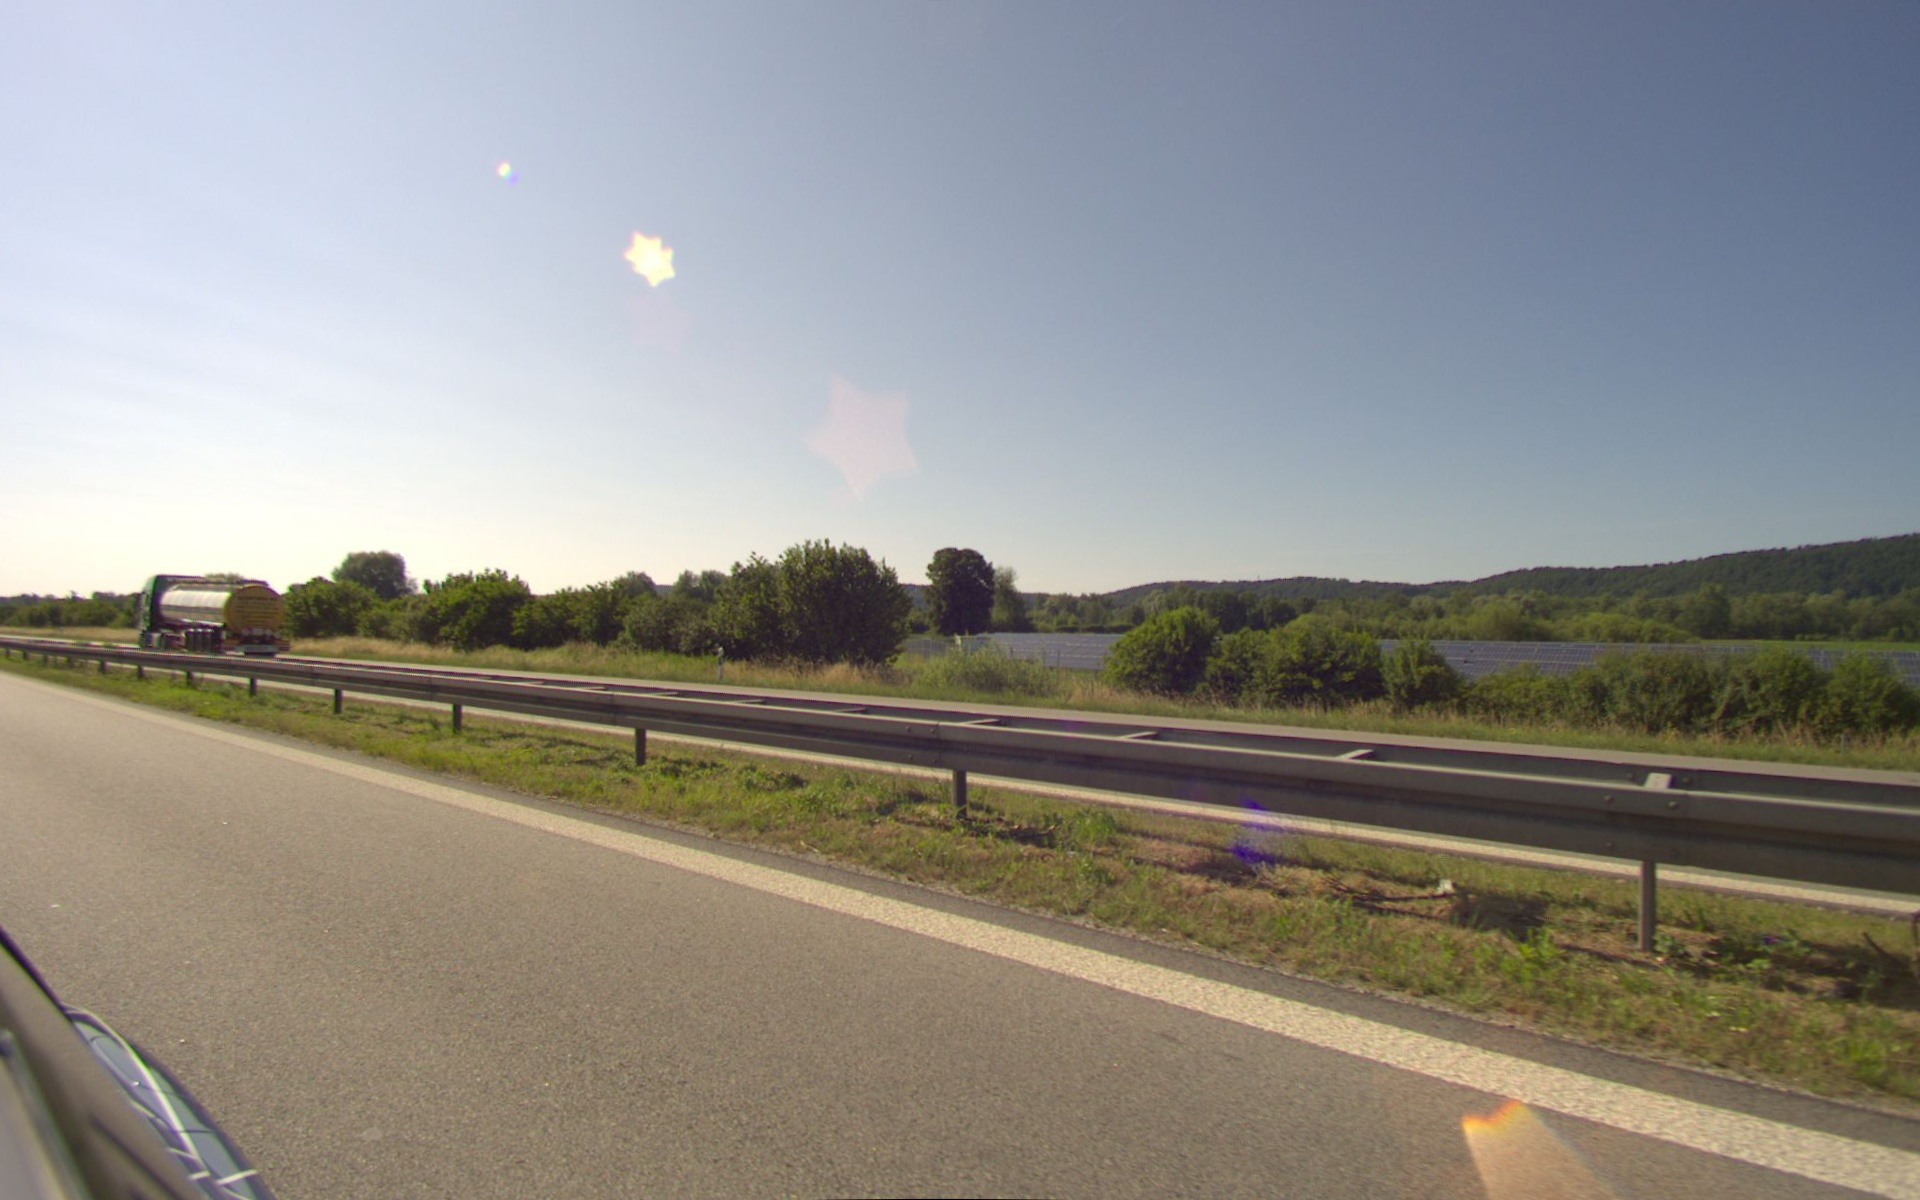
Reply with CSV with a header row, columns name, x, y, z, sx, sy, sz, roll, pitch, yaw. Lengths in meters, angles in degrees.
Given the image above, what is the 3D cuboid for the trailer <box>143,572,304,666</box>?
name,x,y,z,sx,sy,sz,roll,pitch,yaw
trailer,-33.556,0.888,45.813,12.410,3.759,2.949,-1,-3,40

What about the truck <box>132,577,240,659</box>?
name,x,y,z,sx,sy,sz,roll,pitch,yaw
truck,-37.786,0.926,49.381,5.564,3.760,2.925,-1,-3,40
